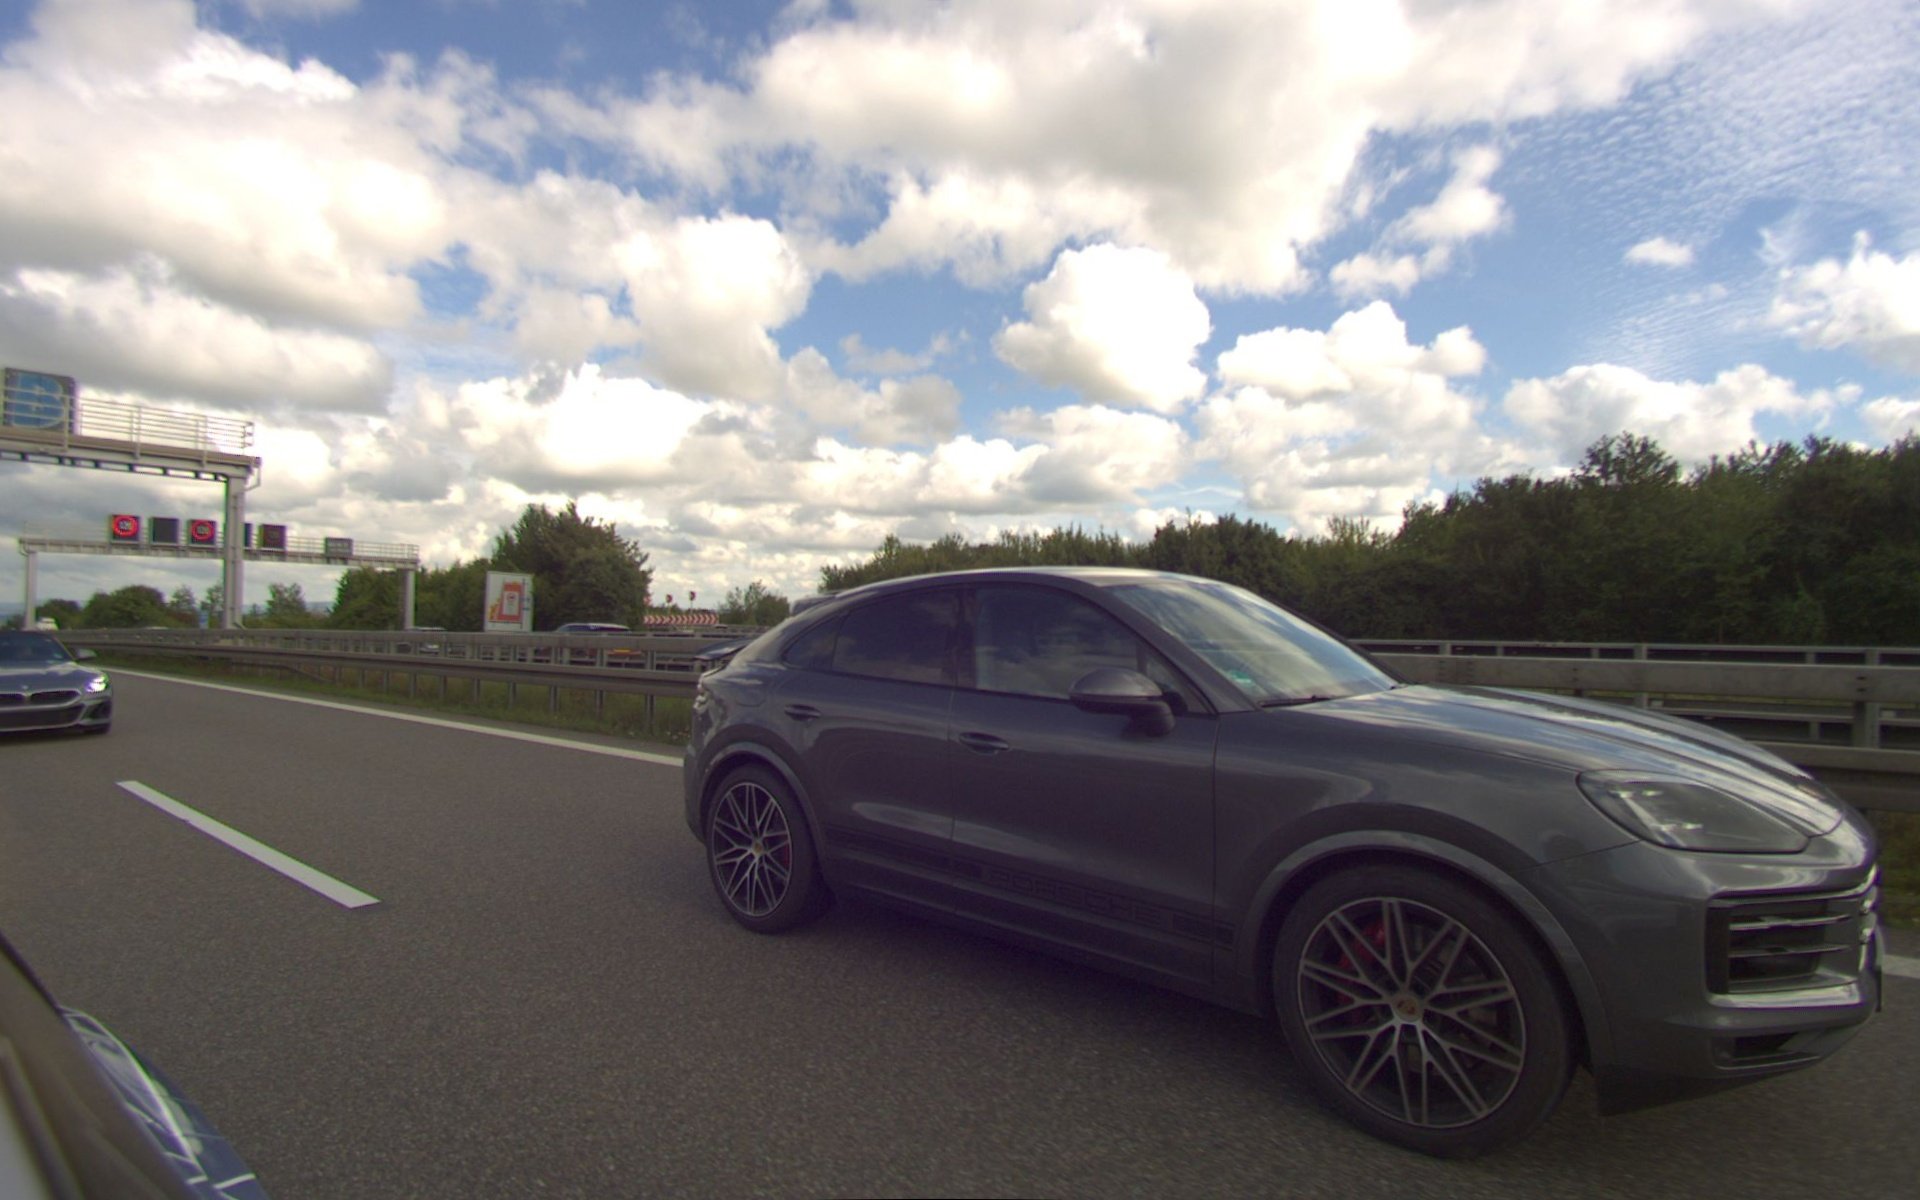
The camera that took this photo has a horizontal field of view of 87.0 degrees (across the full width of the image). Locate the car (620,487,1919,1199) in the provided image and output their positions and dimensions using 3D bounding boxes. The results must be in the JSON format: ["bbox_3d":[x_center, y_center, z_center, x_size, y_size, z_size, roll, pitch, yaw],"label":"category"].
[{"bbox_3d":[0.939,0.632,4.125,5.497,1.648,1.892,-1,-1,41],"label":"car"}]

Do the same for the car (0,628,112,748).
[{"bbox_3d":[-12.662,1.047,13.080,4.939,1.312,1.854,-1,-1,41],"label":"car"}]

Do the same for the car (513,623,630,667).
[{"bbox_3d":[-11.825,1.311,30.690,4.111,1.229,1.509,-1,-1,40],"label":"car"}]

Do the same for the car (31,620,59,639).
[{"bbox_3d":[-114.743,3.694,126.900,4.574,2.301,1.978,-1,-1,39],"label":"car"}]

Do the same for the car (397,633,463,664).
[{"bbox_3d":[-25.690,2.329,49.048,3.873,1.413,1.509,-1,-1,40],"label":"car"}]
